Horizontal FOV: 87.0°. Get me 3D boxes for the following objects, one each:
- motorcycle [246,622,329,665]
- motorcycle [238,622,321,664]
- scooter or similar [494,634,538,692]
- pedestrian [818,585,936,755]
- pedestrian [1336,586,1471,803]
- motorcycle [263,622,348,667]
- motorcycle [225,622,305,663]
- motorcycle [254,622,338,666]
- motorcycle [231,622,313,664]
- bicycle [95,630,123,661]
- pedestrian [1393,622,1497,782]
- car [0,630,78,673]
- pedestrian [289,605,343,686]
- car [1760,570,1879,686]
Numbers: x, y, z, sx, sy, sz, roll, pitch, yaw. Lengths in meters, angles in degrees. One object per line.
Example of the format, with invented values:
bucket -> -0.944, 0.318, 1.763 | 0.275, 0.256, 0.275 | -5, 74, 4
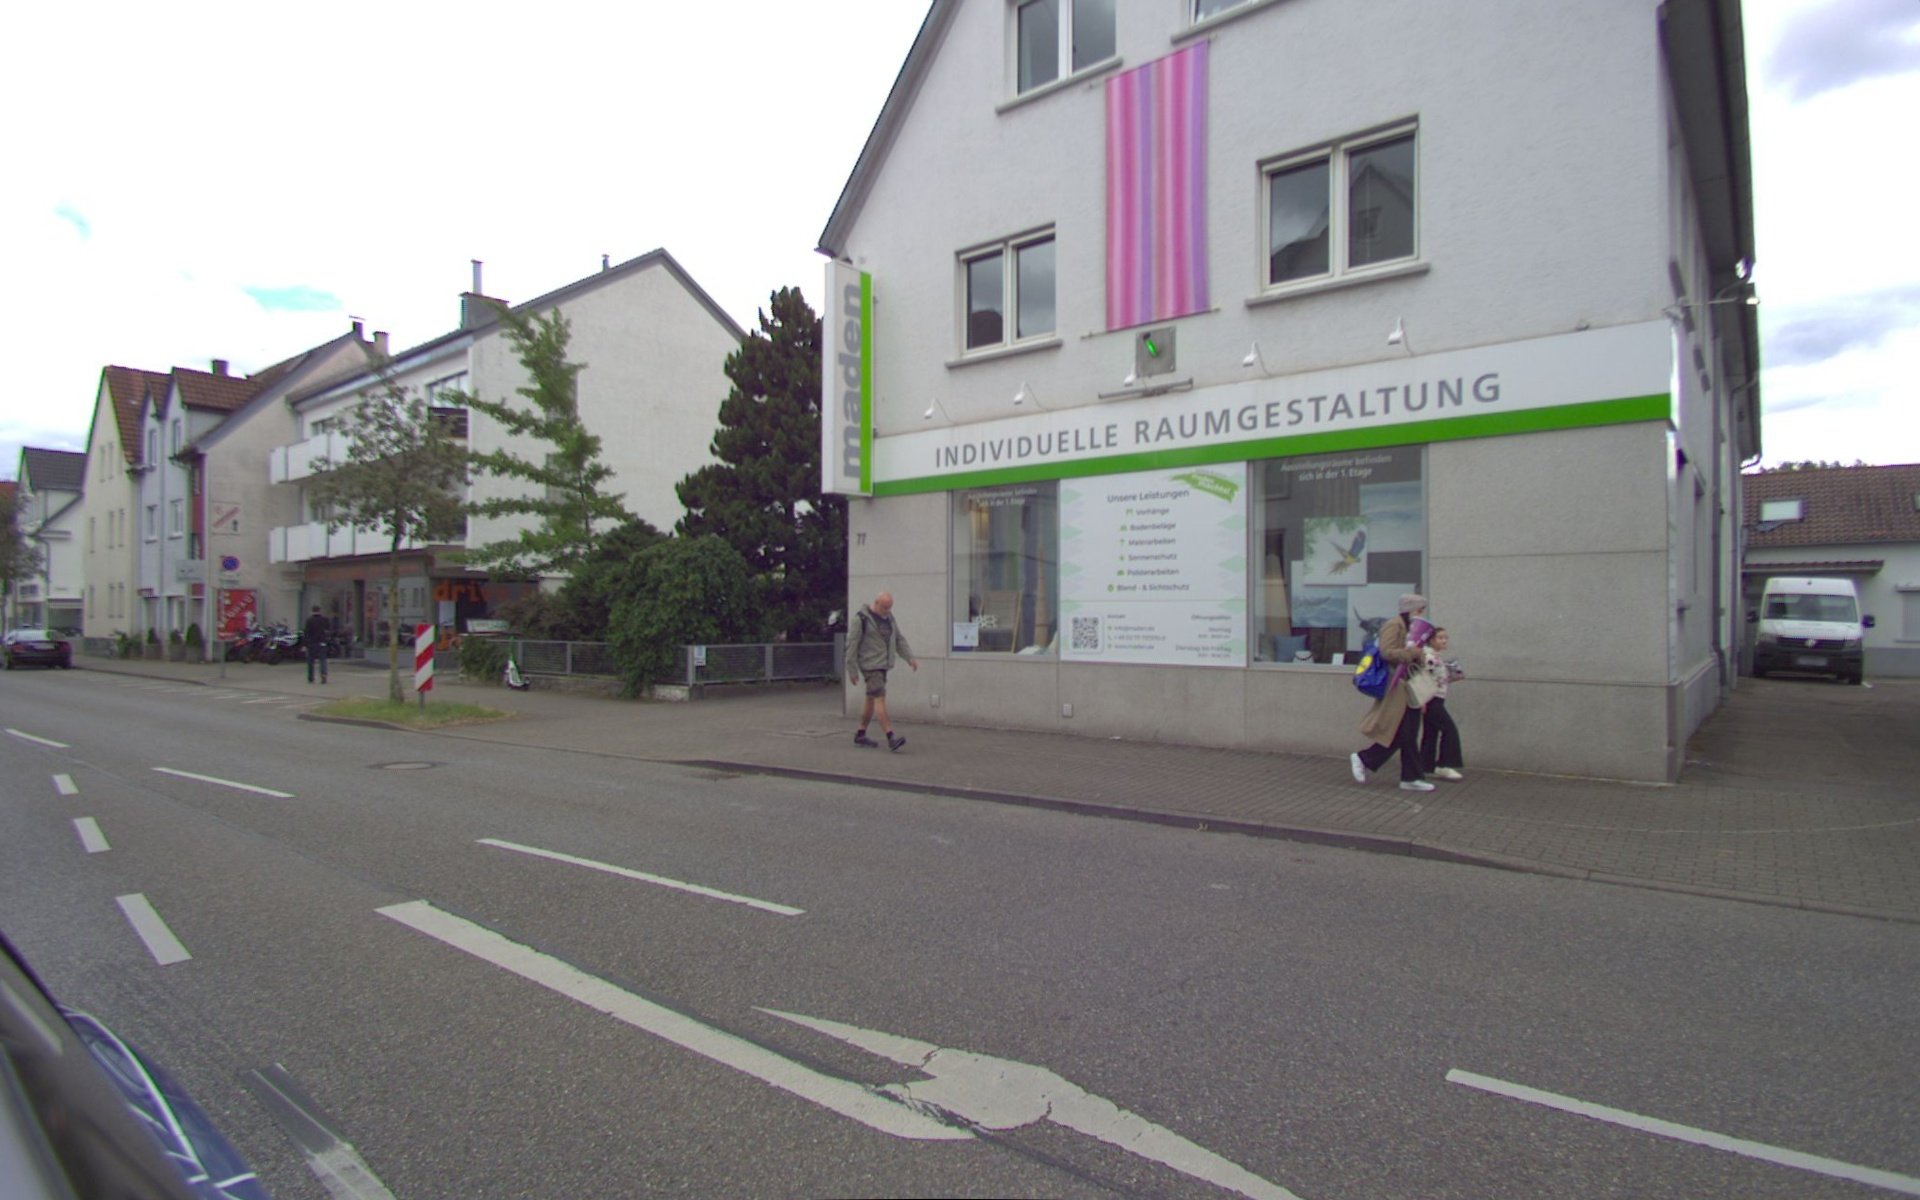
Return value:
motorcycle -> -22.513, 1.447, 33.907 | 0.612, 1.275, 2.204 | -1, 1, 38
motorcycle -> -23.165, 1.445, 34.475 | 0.698, 1.275, 2.204 | -1, 1, 38
scooter or similar -> -8.927, 1.256, 20.336 | 1.179, 1.120, 0.336 | -1, -1, 41
pedestrian -> -0.913, 0.735, 11.137 | 1.019, 1.756, 0.744 | -1, 1, 40
pedestrian -> 3.627, 0.726, 8.273 | 0.792, 1.629, 0.744 | -1, 2, 40
motorcycle -> -21.223, 1.421, 32.860 | 0.612, 1.275, 2.204 | -1, 1, 38
motorcycle -> -24.261, 1.481, 35.374 | 0.612, 1.275, 2.204 | -1, 1, 38
motorcycle -> -21.870, 1.434, 33.387 | 0.612, 1.275, 2.204 | -1, 1, 38
motorcycle -> -23.744, 1.470, 34.966 | 0.612, 1.275, 2.204 | -1, 1, 38
bicycle -> -34.588, 1.844, 41.113 | 2.022, 1.205, 0.509 | -1, -1, 39
pedestrian -> 4.186, 0.843, 8.729 | 0.654, 1.289, 0.593 | -1, 0, 40
car -> -32.932, 1.785, 35.895 | 4.337, 1.428, 1.770 | -1, -2, 39
pedestrian -> -15.420, 1.067, 24.222 | 1.019, 1.863, 0.744 | -1, 2, 40
car -> 21.231, 0.591, 25.203 | 1.957, 2.527, 5.918 | 2, 1, 38
